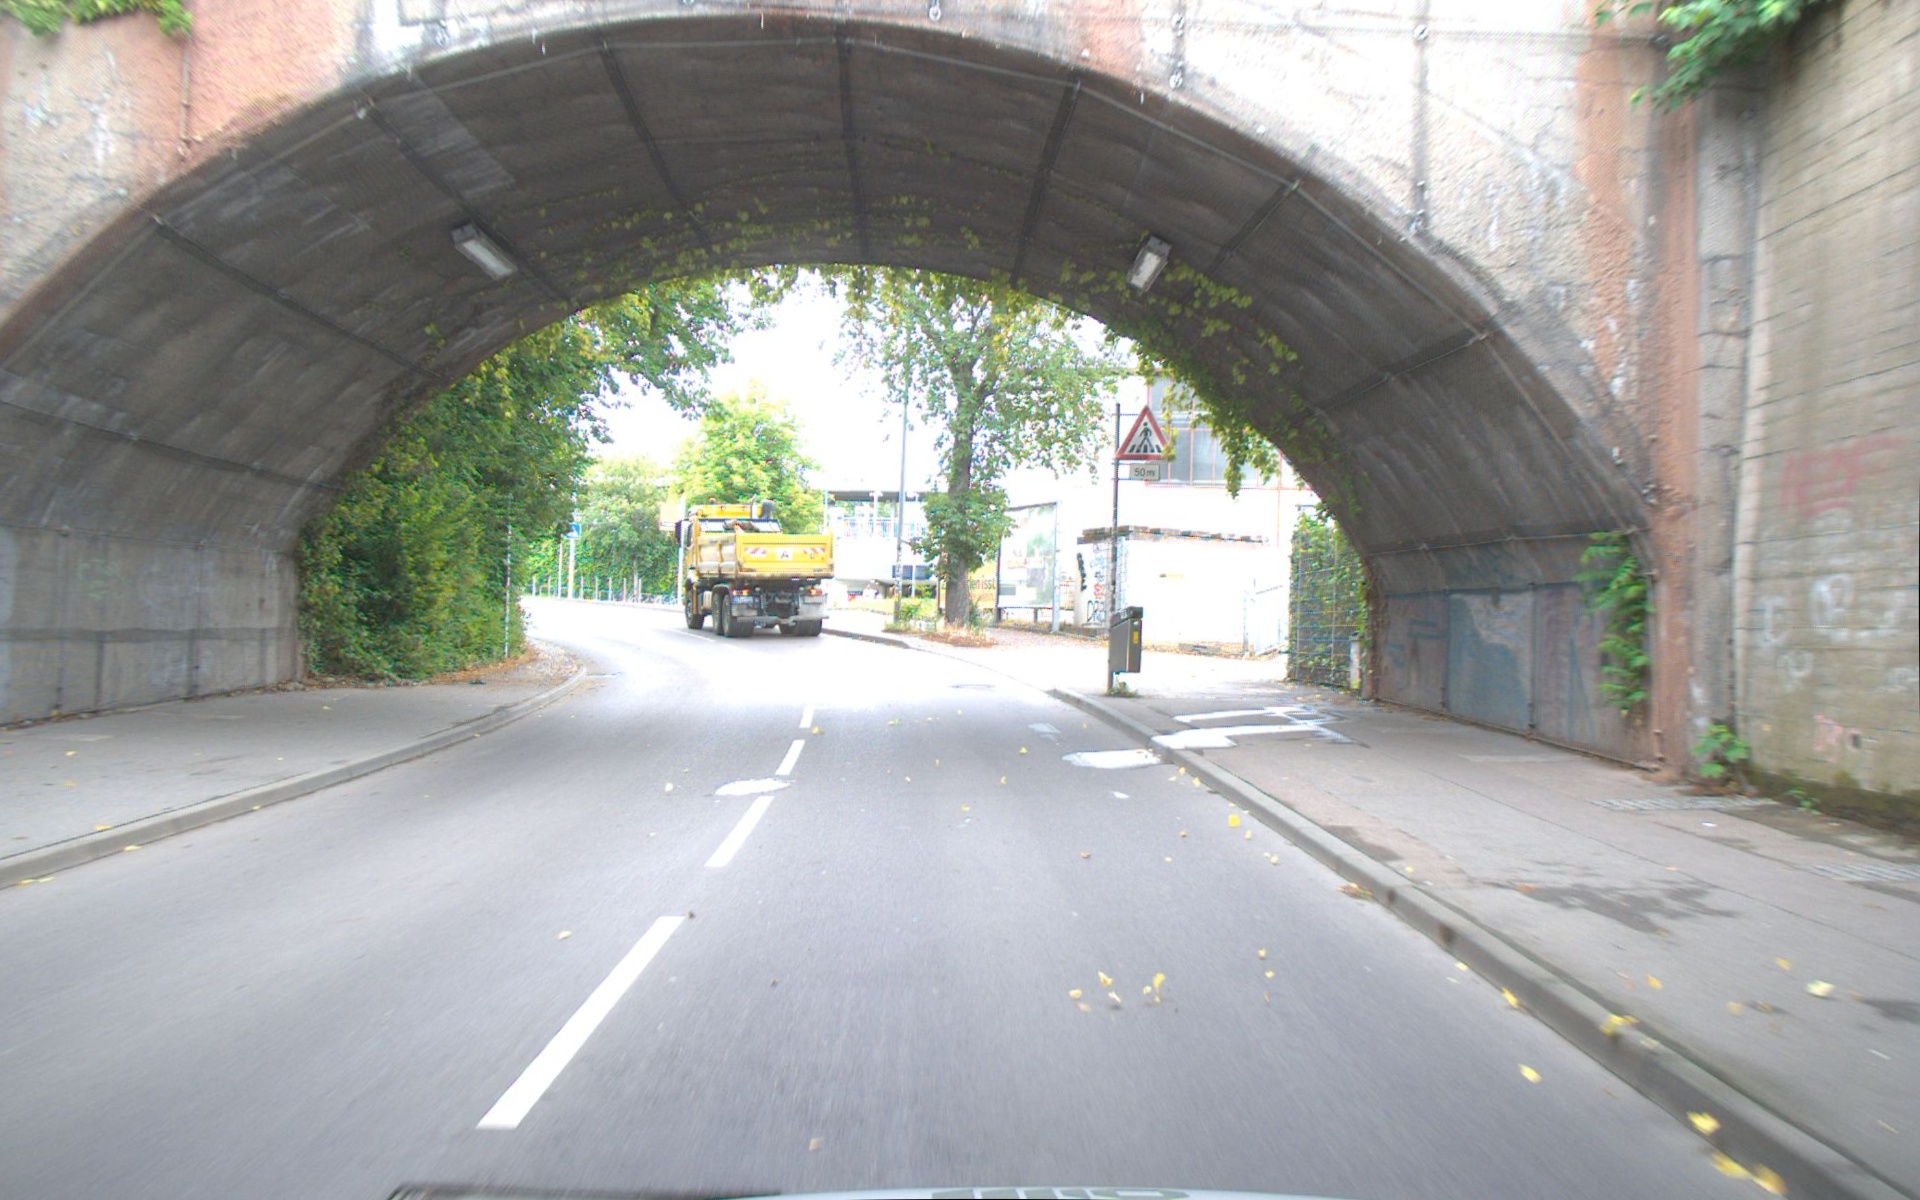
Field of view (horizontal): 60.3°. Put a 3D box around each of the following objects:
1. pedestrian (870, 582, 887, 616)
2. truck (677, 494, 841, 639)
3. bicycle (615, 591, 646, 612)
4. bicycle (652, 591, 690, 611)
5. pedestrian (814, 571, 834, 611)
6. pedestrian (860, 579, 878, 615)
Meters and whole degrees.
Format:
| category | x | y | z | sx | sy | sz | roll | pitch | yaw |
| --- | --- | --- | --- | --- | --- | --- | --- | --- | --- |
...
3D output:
| category | x | y | z | sx | sy | sz | roll | pitch | yaw |
| --- | --- | --- | --- | --- | --- | --- | --- | --- | --- |
| pedestrian | -3.998 | -0.041 | 81.111 | 0.783 | 1.611 | 0.801 | 1 | -2 | 0 |
| truck | -5.560 | -0.998 | 44.469 | 2.723 | 3.543 | 8.085 | -1 | 3 | -19 |
| bicycle | -17.632 | 0.093 | 88.387 | 1.467 | 1.007 | 0.690 | 4 | -1 | -23 |
| bicycle | -15.383 | 0.057 | 87.995 | 1.954 | 0.880 | 0.503 | 7 | -3 | -40 |
| pedestrian | -5.885 | -0.396 | 71.690 | 0.831 | 1.713 | 0.939 | 0 | -1 | -4 |
| pedestrian | -4.386 | -0.137 | 79.478 | 0.797 | 1.732 | 0.749 | 1 | -2 | 0 |
